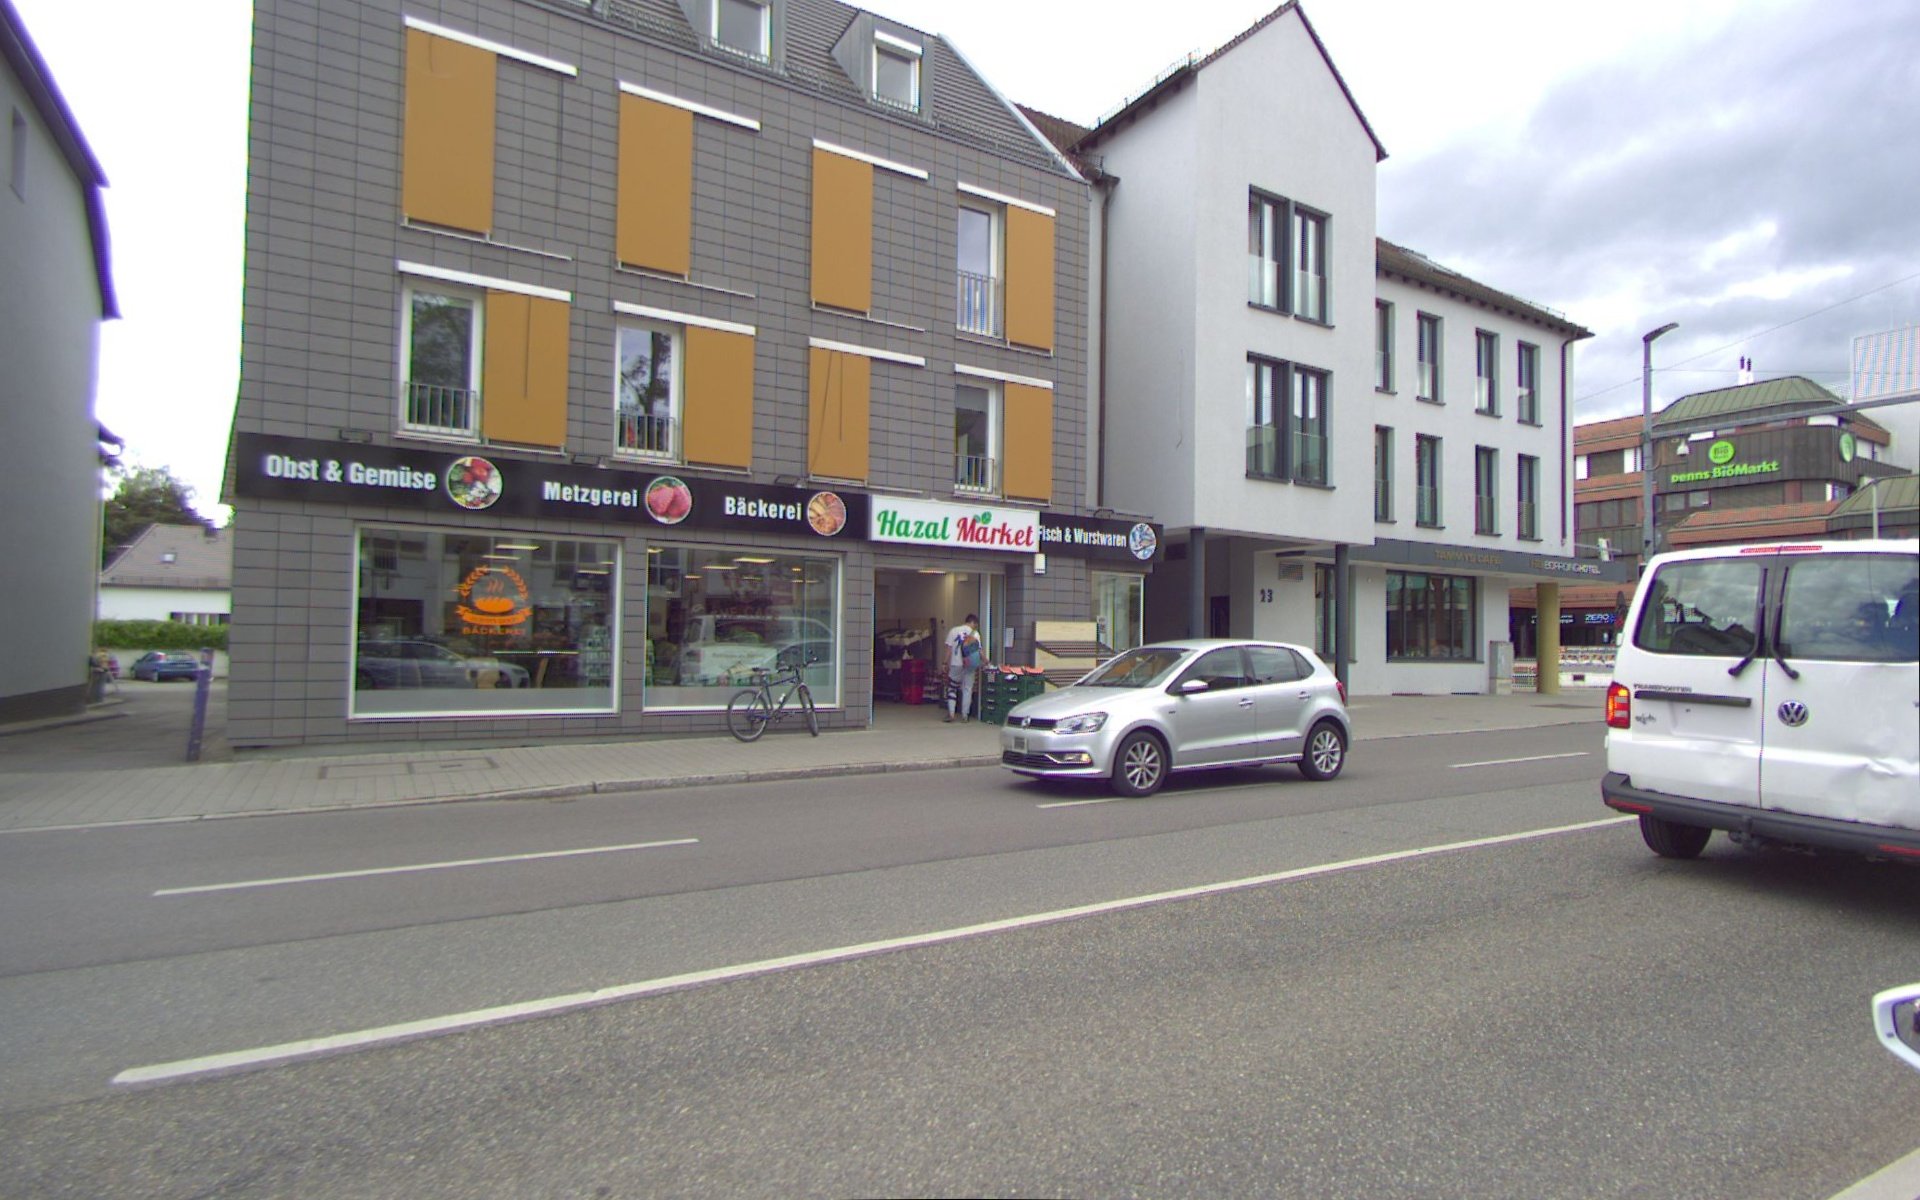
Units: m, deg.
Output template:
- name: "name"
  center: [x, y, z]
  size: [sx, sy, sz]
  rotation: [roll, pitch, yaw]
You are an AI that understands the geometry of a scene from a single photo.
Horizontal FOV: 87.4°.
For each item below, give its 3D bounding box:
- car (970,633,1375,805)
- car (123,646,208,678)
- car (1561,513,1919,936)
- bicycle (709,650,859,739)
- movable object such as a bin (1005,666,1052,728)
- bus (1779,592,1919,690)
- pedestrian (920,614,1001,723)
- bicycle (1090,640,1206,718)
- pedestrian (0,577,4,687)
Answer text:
- name: "car"
  center: [2.253, 1.114, 10.390]
  size: [3.989, 1.467, 1.750]
  rotation: [2, -3, -31]
- name: "car"
  center: [-39.598, 3.077, 50.072]
  size: [3.715, 1.432, 1.650]
  rotation: [0, -1, 22]
- name: "car"
  center: [6.346, 0.661, 6.688]
  size: [4.784, 2.040, 1.983]
  rotation: [2, 0, -31]
- name: "bicycle"
  center: [-2.330, 1.227, 13.391]
  size: [1.880, 1.115, 0.569]
  rotation: [2, -1, -31]
- name: "movable object such as a bin"
  center: [1.056, 1.490, 15.600]
  size: [0.501, 0.911, 0.548]
  rotation: [2, -1, -32]
- name: "bus"
  center: [36.779, 1.561, 37.756]
  size: [12.107, 3.370, 2.988]
  rotation: [1, -4, -17]
- name: "pedestrian"
  center: [0.002, 1.071, 15.987]
  size: [0.960, 1.665, 0.883]
  rotation: [2, -2, -31]
- name: "bicycle"
  center: [3.213, 1.318, 17.029]
  size: [2.096, 1.248, 0.579]
  rotation: [2, -1, -32]
- name: "pedestrian"
  center: [-8.902, 0.677, 8.581]
  size: [0.859, 1.805, 0.704]
  rotation: [2, -2, -29]
